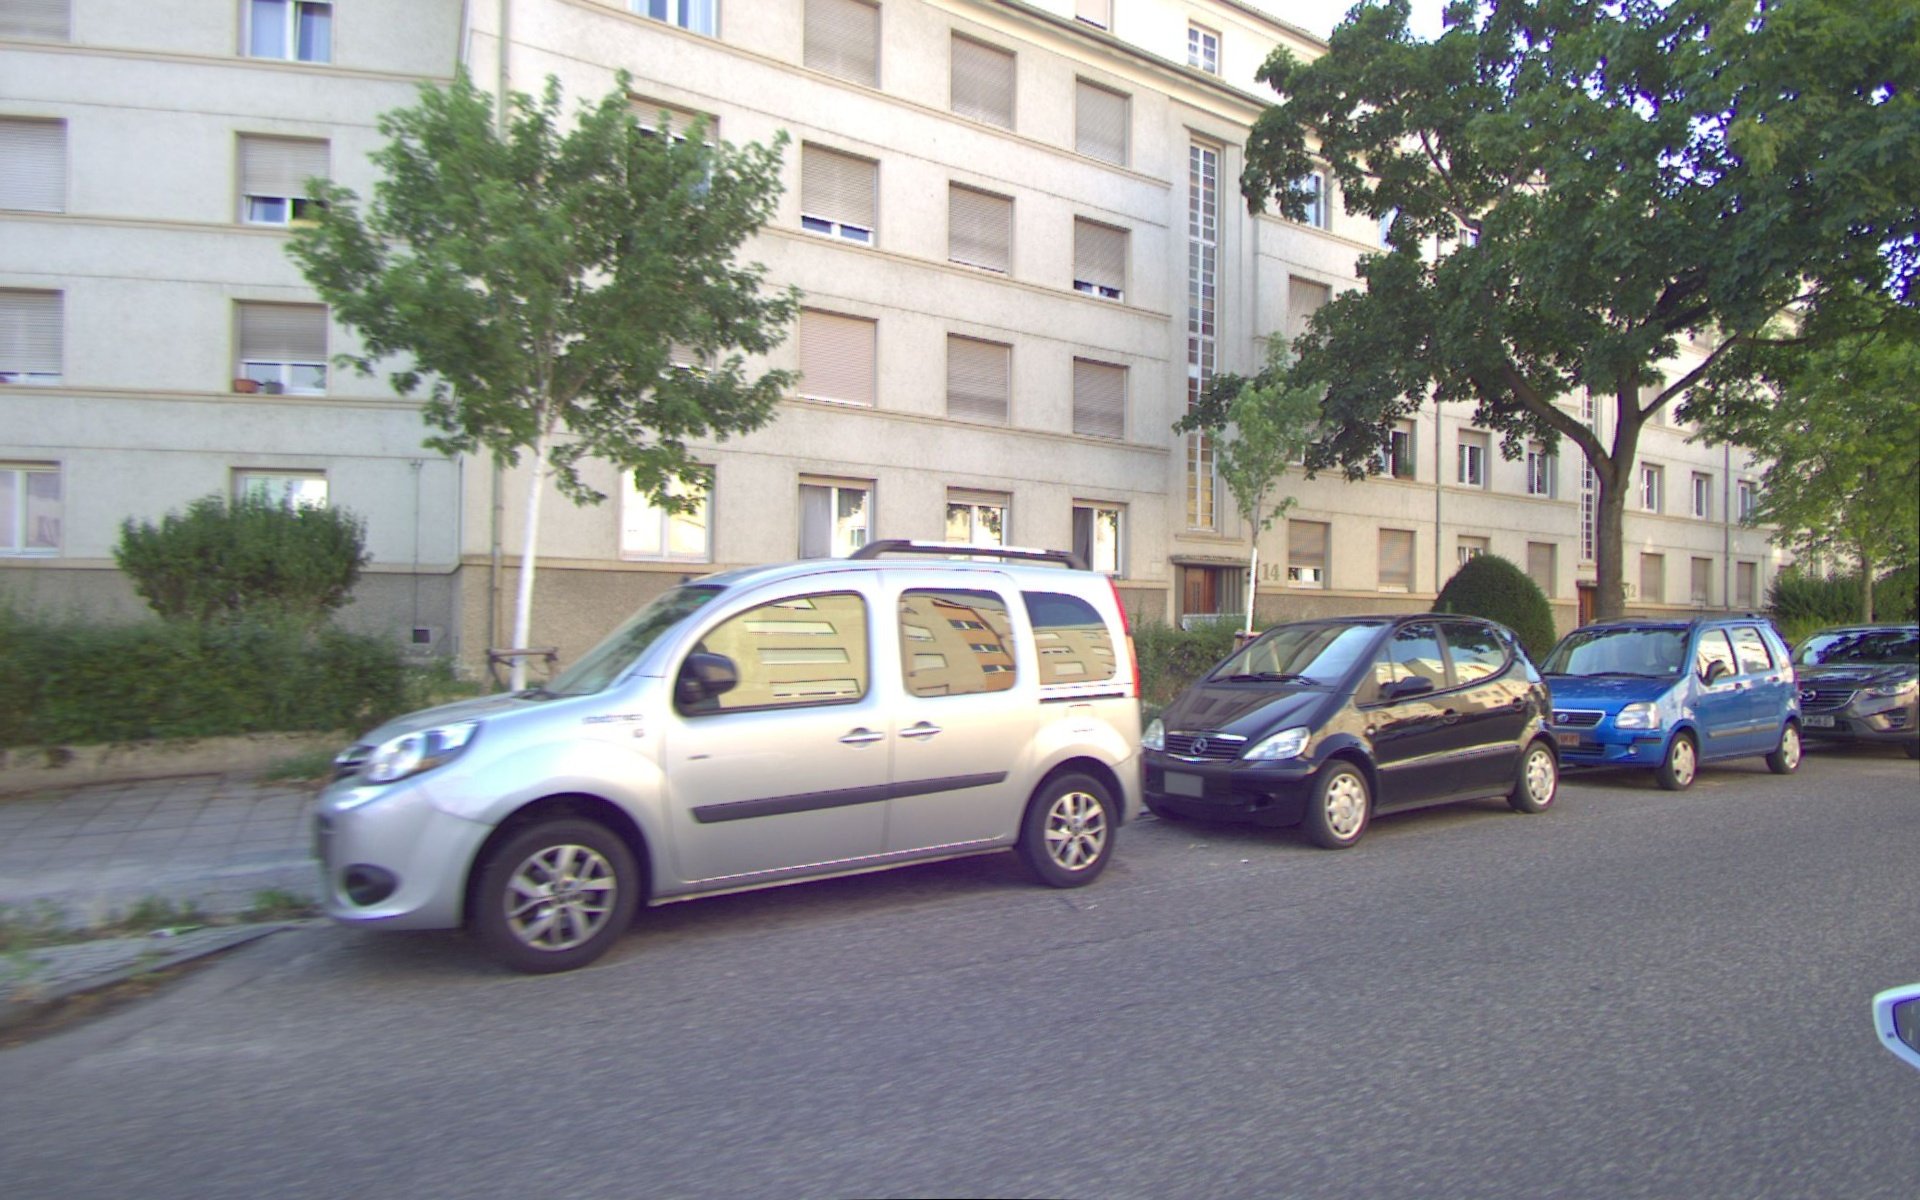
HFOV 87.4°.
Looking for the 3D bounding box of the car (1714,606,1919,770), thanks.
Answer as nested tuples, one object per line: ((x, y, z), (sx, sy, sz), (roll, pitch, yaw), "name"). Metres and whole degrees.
((11.905, 1.098, 13.019), (4.639, 1.782, 1.863), (3, -4, -32), "car")

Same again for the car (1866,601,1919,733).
((16.722, 1.092, 16.209), (3.954, 2.040, 1.984), (2, -4, -30), "car")

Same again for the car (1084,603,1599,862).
((3.114, 0.902, 7.998), (3.957, 1.572, 1.863), (3, -2, -32), "car")

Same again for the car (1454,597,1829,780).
((7.322, 0.855, 10.716), (3.956, 1.572, 1.863), (3, 0, -32), "car")

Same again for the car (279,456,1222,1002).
((-0.879, 0.550, 5.449), (4.433, 1.921, 1.833), (3, -2, -30), "car")
